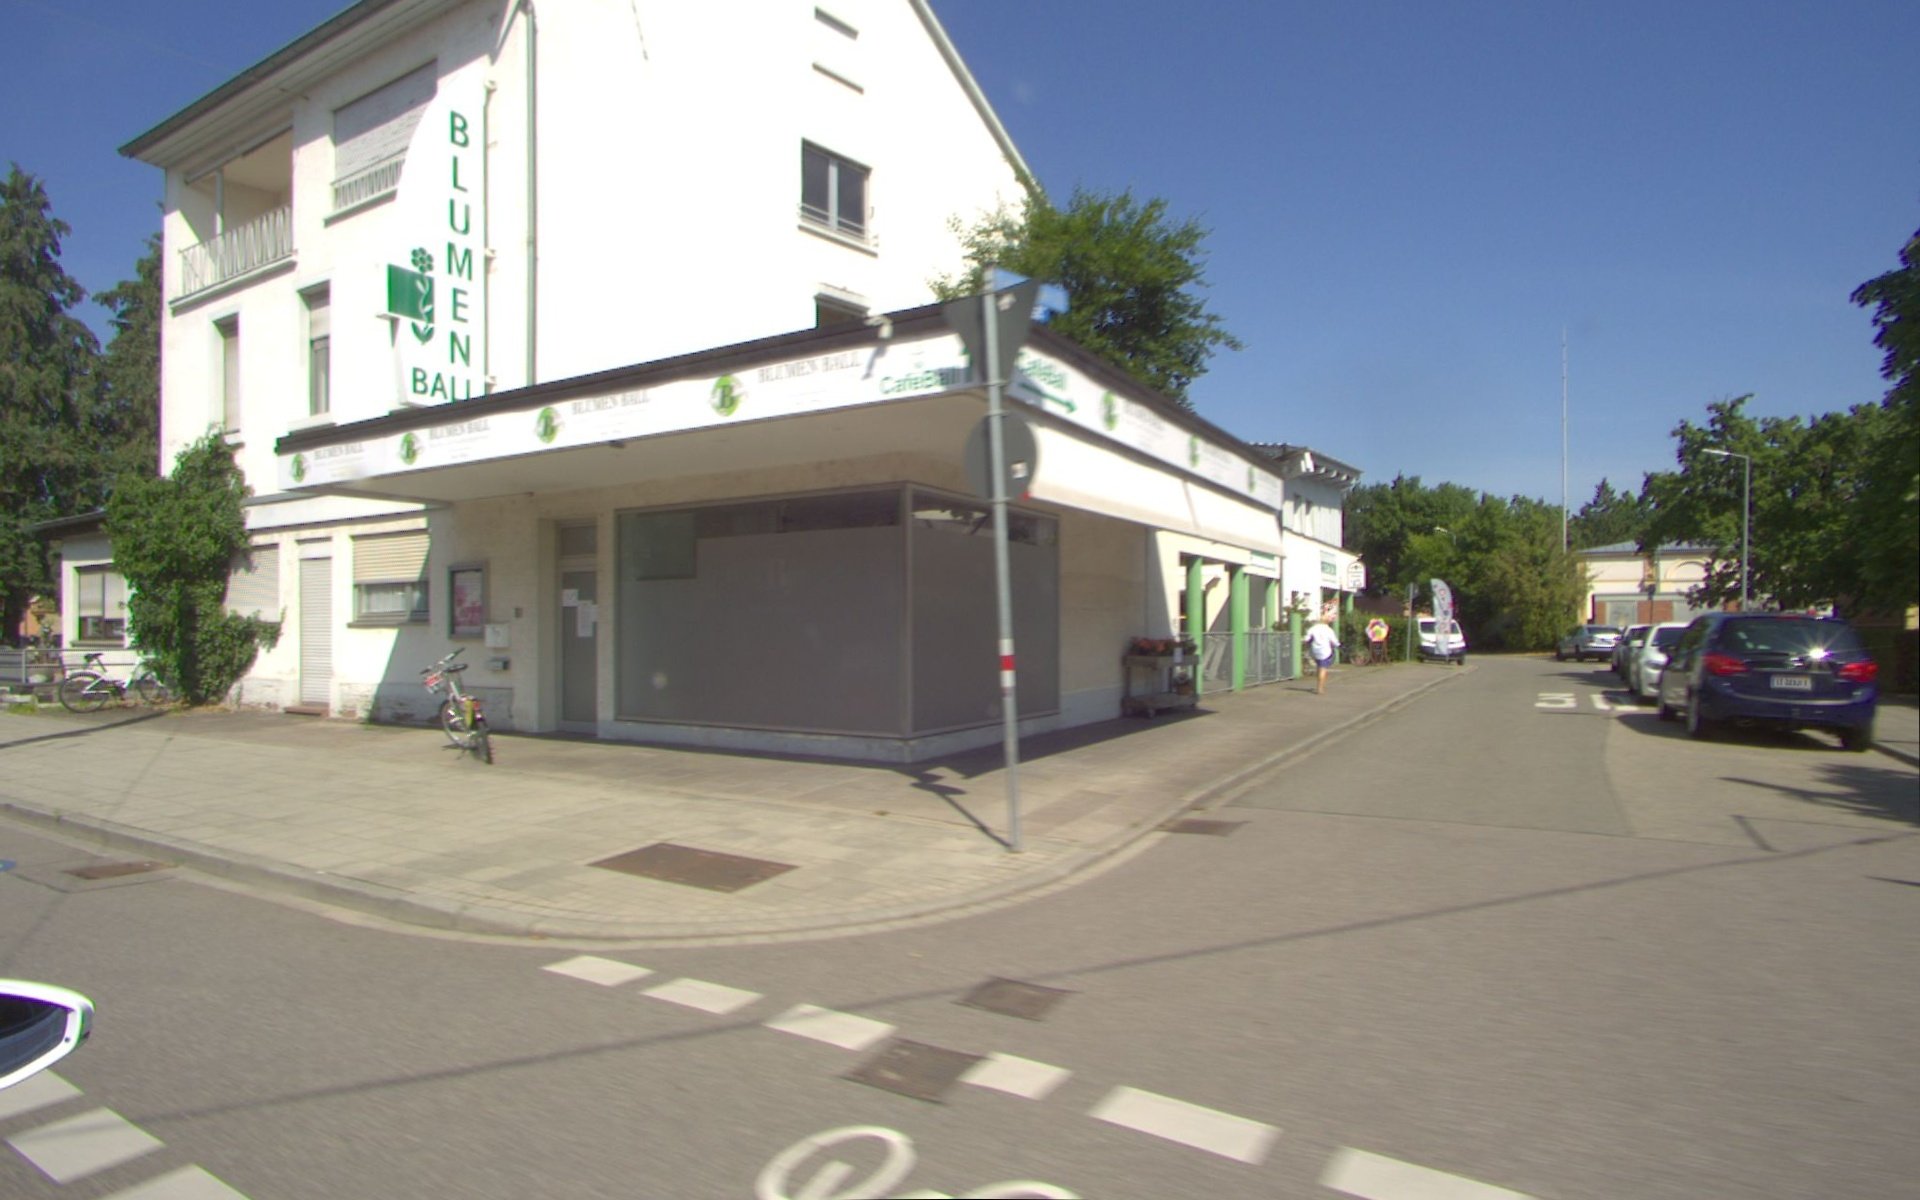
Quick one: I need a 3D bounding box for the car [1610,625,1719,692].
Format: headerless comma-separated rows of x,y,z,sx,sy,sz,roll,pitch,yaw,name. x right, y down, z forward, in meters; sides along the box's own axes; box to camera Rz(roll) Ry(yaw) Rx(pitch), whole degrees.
16.755,1.335,23.982,1.713,1.470,4.052,-1,-2,29,car

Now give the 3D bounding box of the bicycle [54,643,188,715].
-14.529,1.340,17.382,0.518,1.144,1.708,-1,-1,33,bicycle

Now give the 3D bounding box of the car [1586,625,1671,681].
19.062,1.469,28.689,1.713,1.470,4.052,-1,-2,29,car

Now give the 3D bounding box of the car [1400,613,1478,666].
19.079,1.553,40.052,1.962,2.039,3.998,0,-1,12,car

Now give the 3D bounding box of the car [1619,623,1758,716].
13.108,1.172,18.238,1.548,1.470,4.308,-1,-2,29,car

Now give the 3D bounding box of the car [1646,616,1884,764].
10.297,1.051,13.108,1.707,1.588,3.716,2,-1,28,car

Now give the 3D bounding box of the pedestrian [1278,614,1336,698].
7.185,1.141,20.715,1.017,1.671,0.959,0,-1,25,pedestrian

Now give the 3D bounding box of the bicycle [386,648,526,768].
-5.578,1.128,11.016,2.172,1.154,0.721,-1,-2,45,bicycle

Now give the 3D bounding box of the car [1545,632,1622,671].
24.401,1.966,39.339,1.708,1.429,4.062,0,-2,20,car
